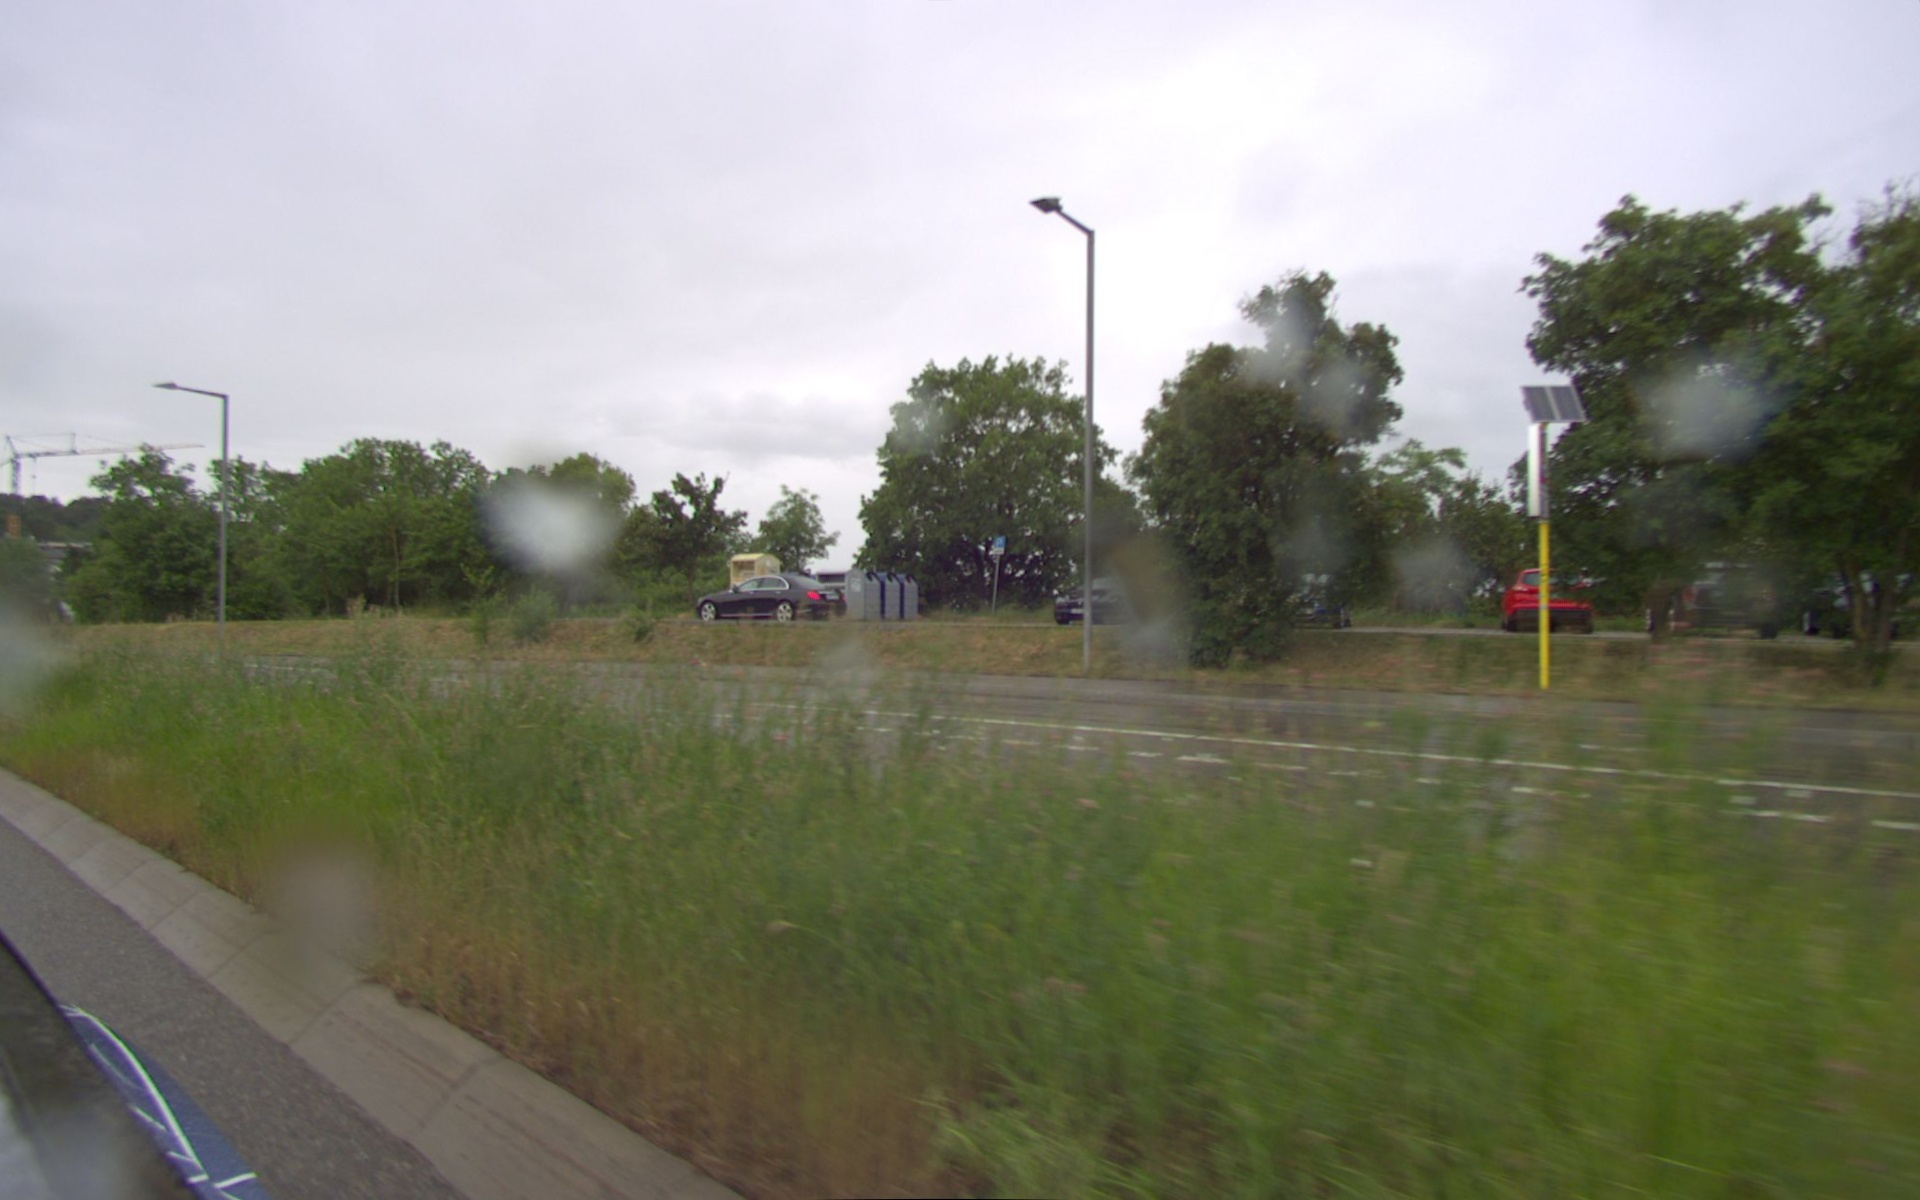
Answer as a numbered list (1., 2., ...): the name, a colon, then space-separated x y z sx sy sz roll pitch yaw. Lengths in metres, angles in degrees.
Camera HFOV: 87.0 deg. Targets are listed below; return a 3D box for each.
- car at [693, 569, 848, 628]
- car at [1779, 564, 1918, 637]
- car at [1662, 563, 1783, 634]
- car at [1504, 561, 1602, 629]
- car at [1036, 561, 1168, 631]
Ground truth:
1. car: -5.639 -0.030 29.896 4.526 1.580 1.679 -2 1 32
2. car: 18.295 -0.032 20.999 1.648 1.374 3.954 -1 1 34
3. car: 16.396 0.021 21.944 1.843 1.374 3.954 -1 -2 34
4. car: 14.149 -0.053 24.064 1.842 1.480 3.956 -1 -2 32
5. car: 4.136 -0.033 28.789 1.998 1.706 4.670 -1 -3 32
